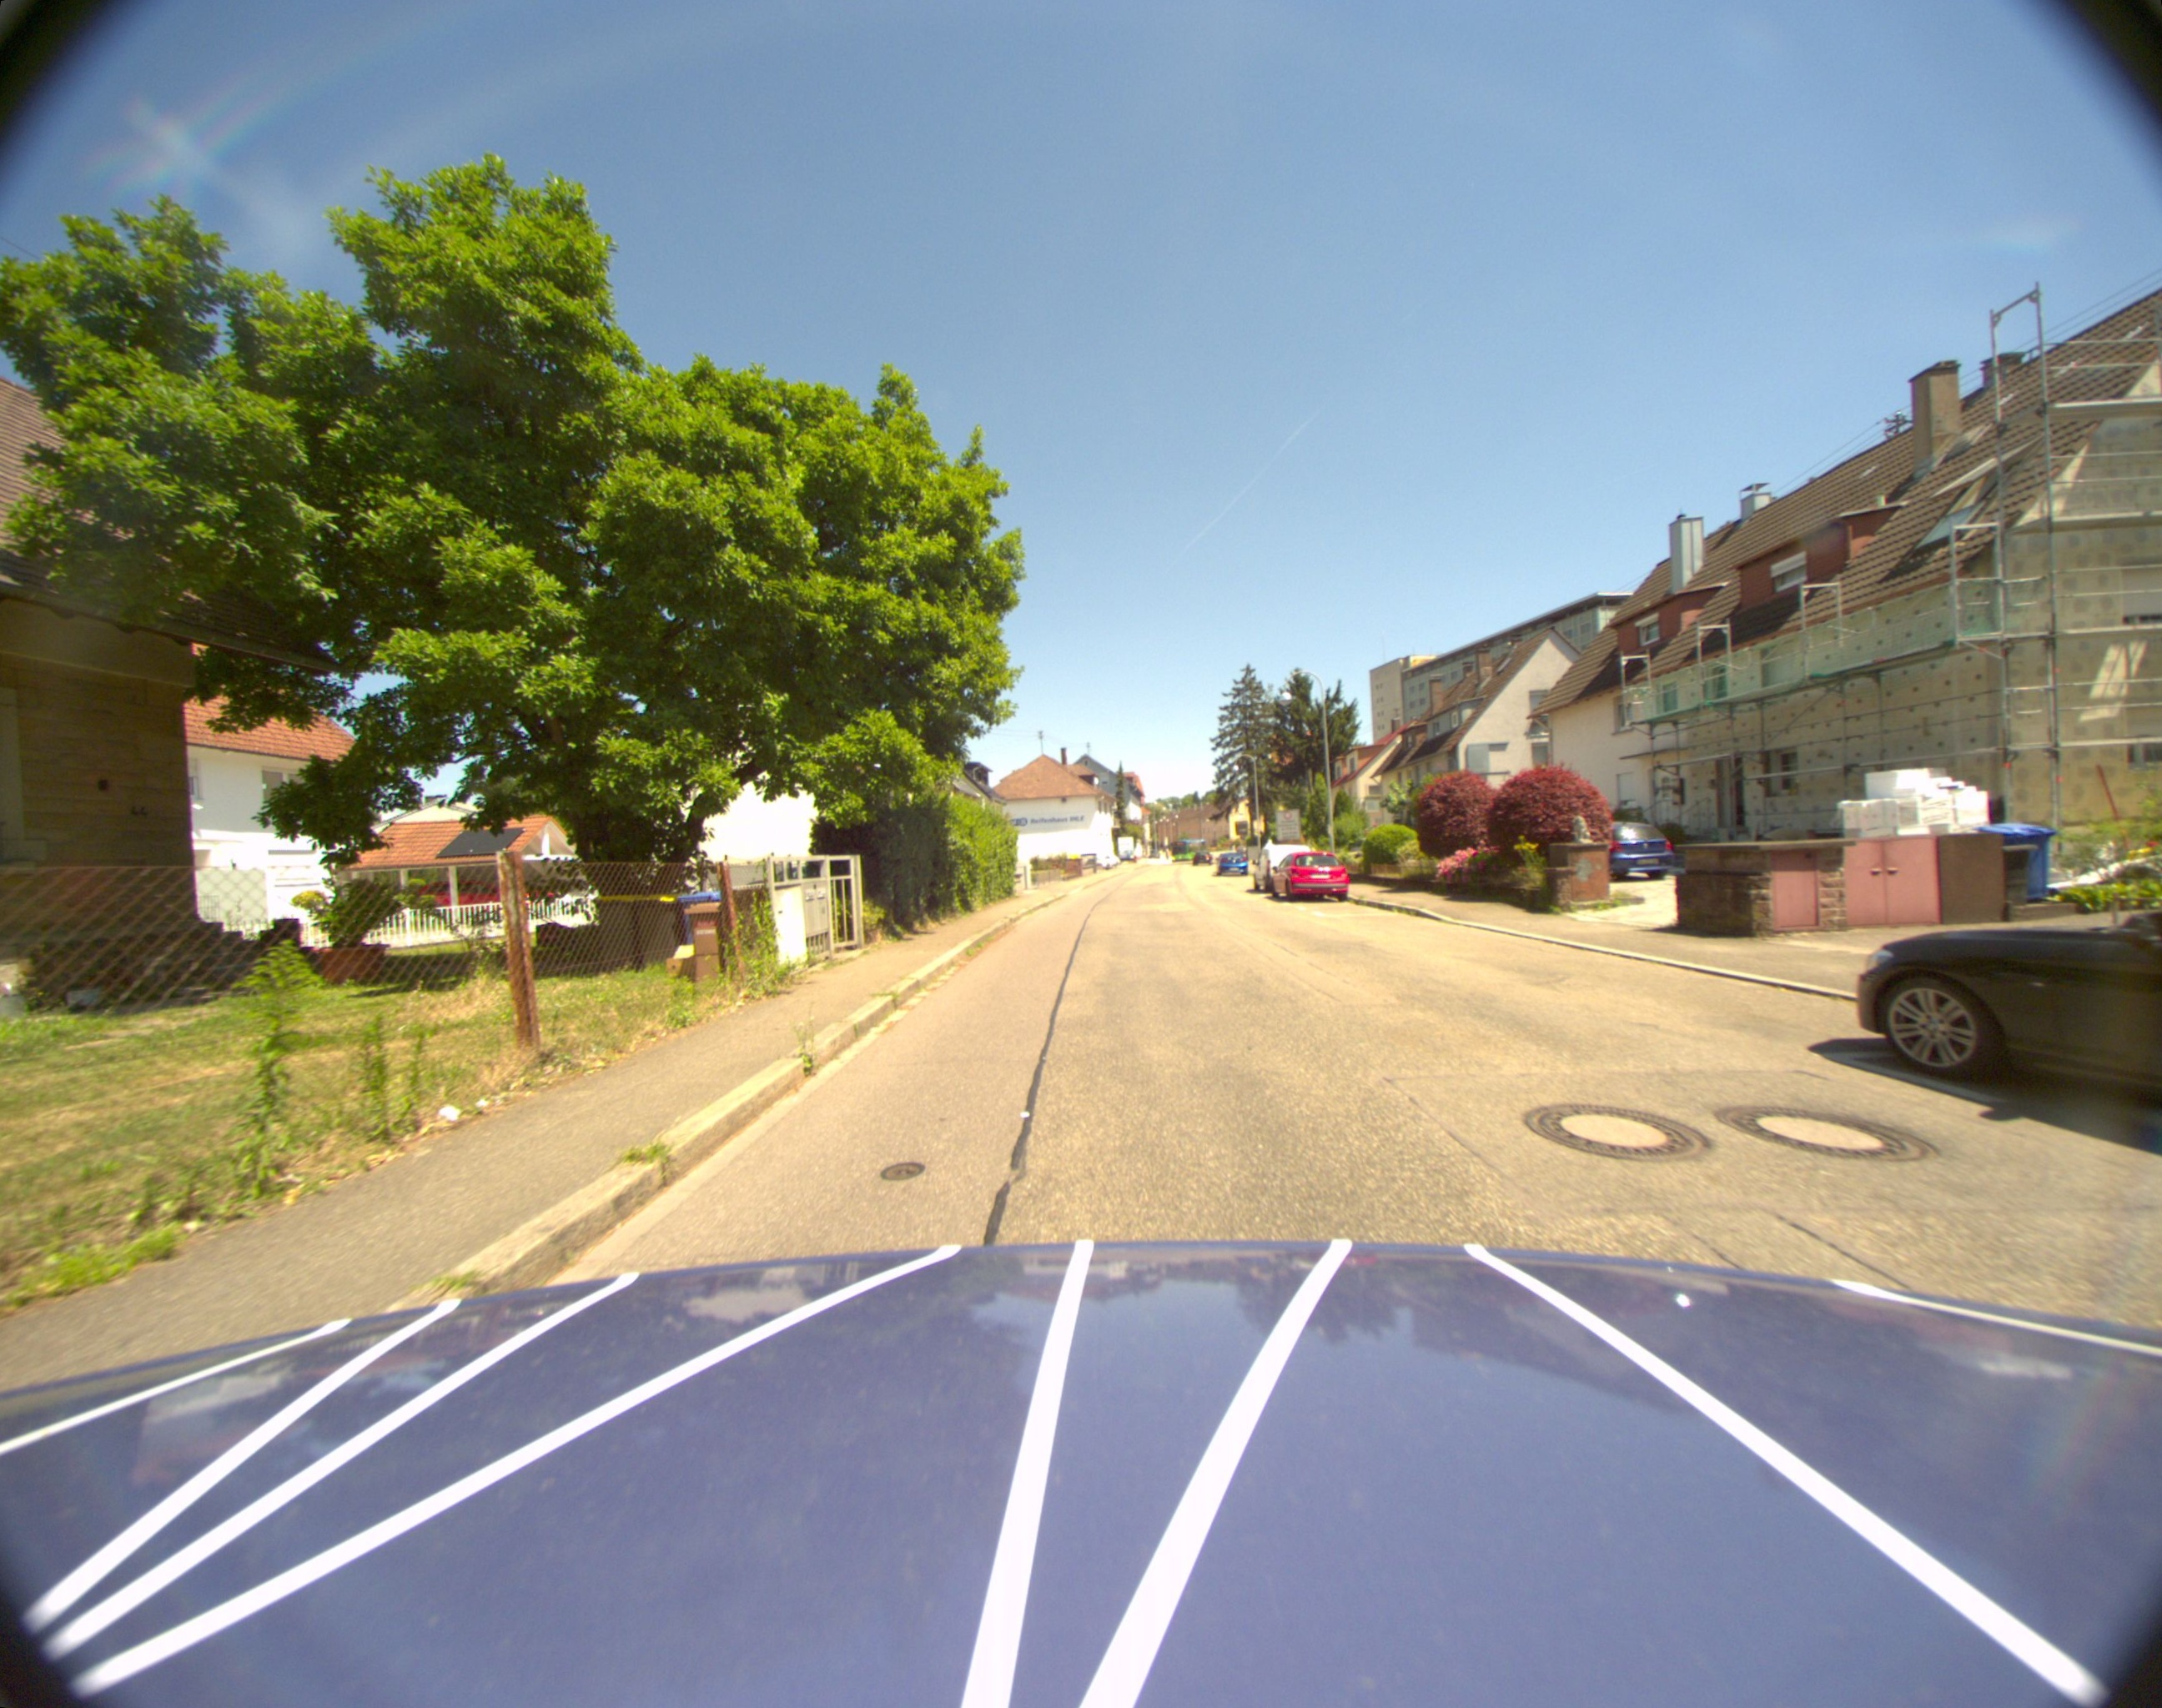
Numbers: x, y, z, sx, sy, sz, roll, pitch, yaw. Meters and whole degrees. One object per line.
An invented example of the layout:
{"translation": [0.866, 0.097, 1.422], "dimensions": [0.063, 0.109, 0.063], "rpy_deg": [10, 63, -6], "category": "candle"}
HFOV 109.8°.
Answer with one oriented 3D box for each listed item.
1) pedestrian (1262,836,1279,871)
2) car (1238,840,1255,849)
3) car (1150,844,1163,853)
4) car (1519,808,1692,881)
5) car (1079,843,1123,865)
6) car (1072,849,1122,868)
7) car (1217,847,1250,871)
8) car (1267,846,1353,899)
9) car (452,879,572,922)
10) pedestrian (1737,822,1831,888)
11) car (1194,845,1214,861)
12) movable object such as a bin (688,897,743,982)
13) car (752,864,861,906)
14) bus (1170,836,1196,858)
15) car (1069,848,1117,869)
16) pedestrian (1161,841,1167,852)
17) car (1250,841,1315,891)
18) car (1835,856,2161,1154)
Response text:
{"translation": [10.717, -0.062, 43.019], "dimensions": [0.690, 1.878, 1.019], "rpy_deg": [-8, 1, 11], "category": "pedestrian"}
{"translation": [28.126, -1.591, 128.987], "dimensions": [1.742, 1.496, 4.149], "rpy_deg": [-1, 1, 26], "category": "car"}
{"translation": [12.625, -0.968, 127.254], "dimensions": [1.761, 1.505, 3.744], "rpy_deg": [0, 1, 11], "category": "car"}
{"translation": [13.314, -0.214, 19.622], "dimensions": [1.689, 1.505, 4.001], "rpy_deg": [-7, 0, 3], "category": "car"}
{"translation": [2.095, 0.032, 77.966], "dimensions": [4.301, 1.820, 1.739], "rpy_deg": [-6, 0, 2], "category": "car"}
{"translation": [1.576, 0.472, 75.464], "dimensions": [4.648, 1.400, 1.770], "rpy_deg": [-6, 0, 11], "category": "car"}
{"translation": [9.432, 0.284, 47.238], "dimensions": [1.772, 1.430, 4.364], "rpy_deg": [-1, 0, 8], "category": "car"}
{"translation": [6.933, 0.515, 23.403], "dimensions": [1.764, 1.469, 4.059], "rpy_deg": [-1, 0, 5], "category": "car"}
{"translation": [-22.184, 1.796, 29.692], "dimensions": [3.467, 1.381, 1.489], "rpy_deg": [-3, 1, -1], "category": "car"}
{"translation": [14.577, 0.009, 15.793], "dimensions": [0.705, 1.257, 1.210], "rpy_deg": [-6, 2, -8], "category": "pedestrian"}
{"translation": [12.026, -0.110, 74.315], "dimensions": [1.735, 1.409, 4.003], "rpy_deg": [-1, 1, 12], "category": "car"}
{"translation": [-4.780, 1.106, 9.959], "dimensions": [0.400, 1.058, 0.546], "rpy_deg": [-1, 0, 3], "category": "movable object such as a bin"}
{"translation": [-11.775, 1.308, 32.783], "dimensions": [3.997, 1.559, 1.800], "rpy_deg": [-3, 1, -2], "category": "car"}
{"translation": [15.373, -1.101, 113.466], "dimensions": [2.908, 3.062, 12.571], "rpy_deg": [-3, 1, 11], "category": "bus"}
{"translation": [1.112, 0.435, 72.552], "dimensions": [4.294, 1.539, 1.759], "rpy_deg": [-5, 1, 42], "category": "car"}
{"translation": [12.522, -1.170, 115.044], "dimensions": [0.614, 1.607, 0.752], "rpy_deg": [0, 2, 26], "category": "pedestrian"}
{"translation": [7.449, 0.394, 28.382], "dimensions": [1.726, 1.726, 3.888], "rpy_deg": [-1, 0, 6], "category": "car"}
{"translation": [5.927, 0.718, 3.036], "dimensions": [1.703, 1.376, 4.235], "rpy_deg": [-1, 0, 1], "category": "car"}
